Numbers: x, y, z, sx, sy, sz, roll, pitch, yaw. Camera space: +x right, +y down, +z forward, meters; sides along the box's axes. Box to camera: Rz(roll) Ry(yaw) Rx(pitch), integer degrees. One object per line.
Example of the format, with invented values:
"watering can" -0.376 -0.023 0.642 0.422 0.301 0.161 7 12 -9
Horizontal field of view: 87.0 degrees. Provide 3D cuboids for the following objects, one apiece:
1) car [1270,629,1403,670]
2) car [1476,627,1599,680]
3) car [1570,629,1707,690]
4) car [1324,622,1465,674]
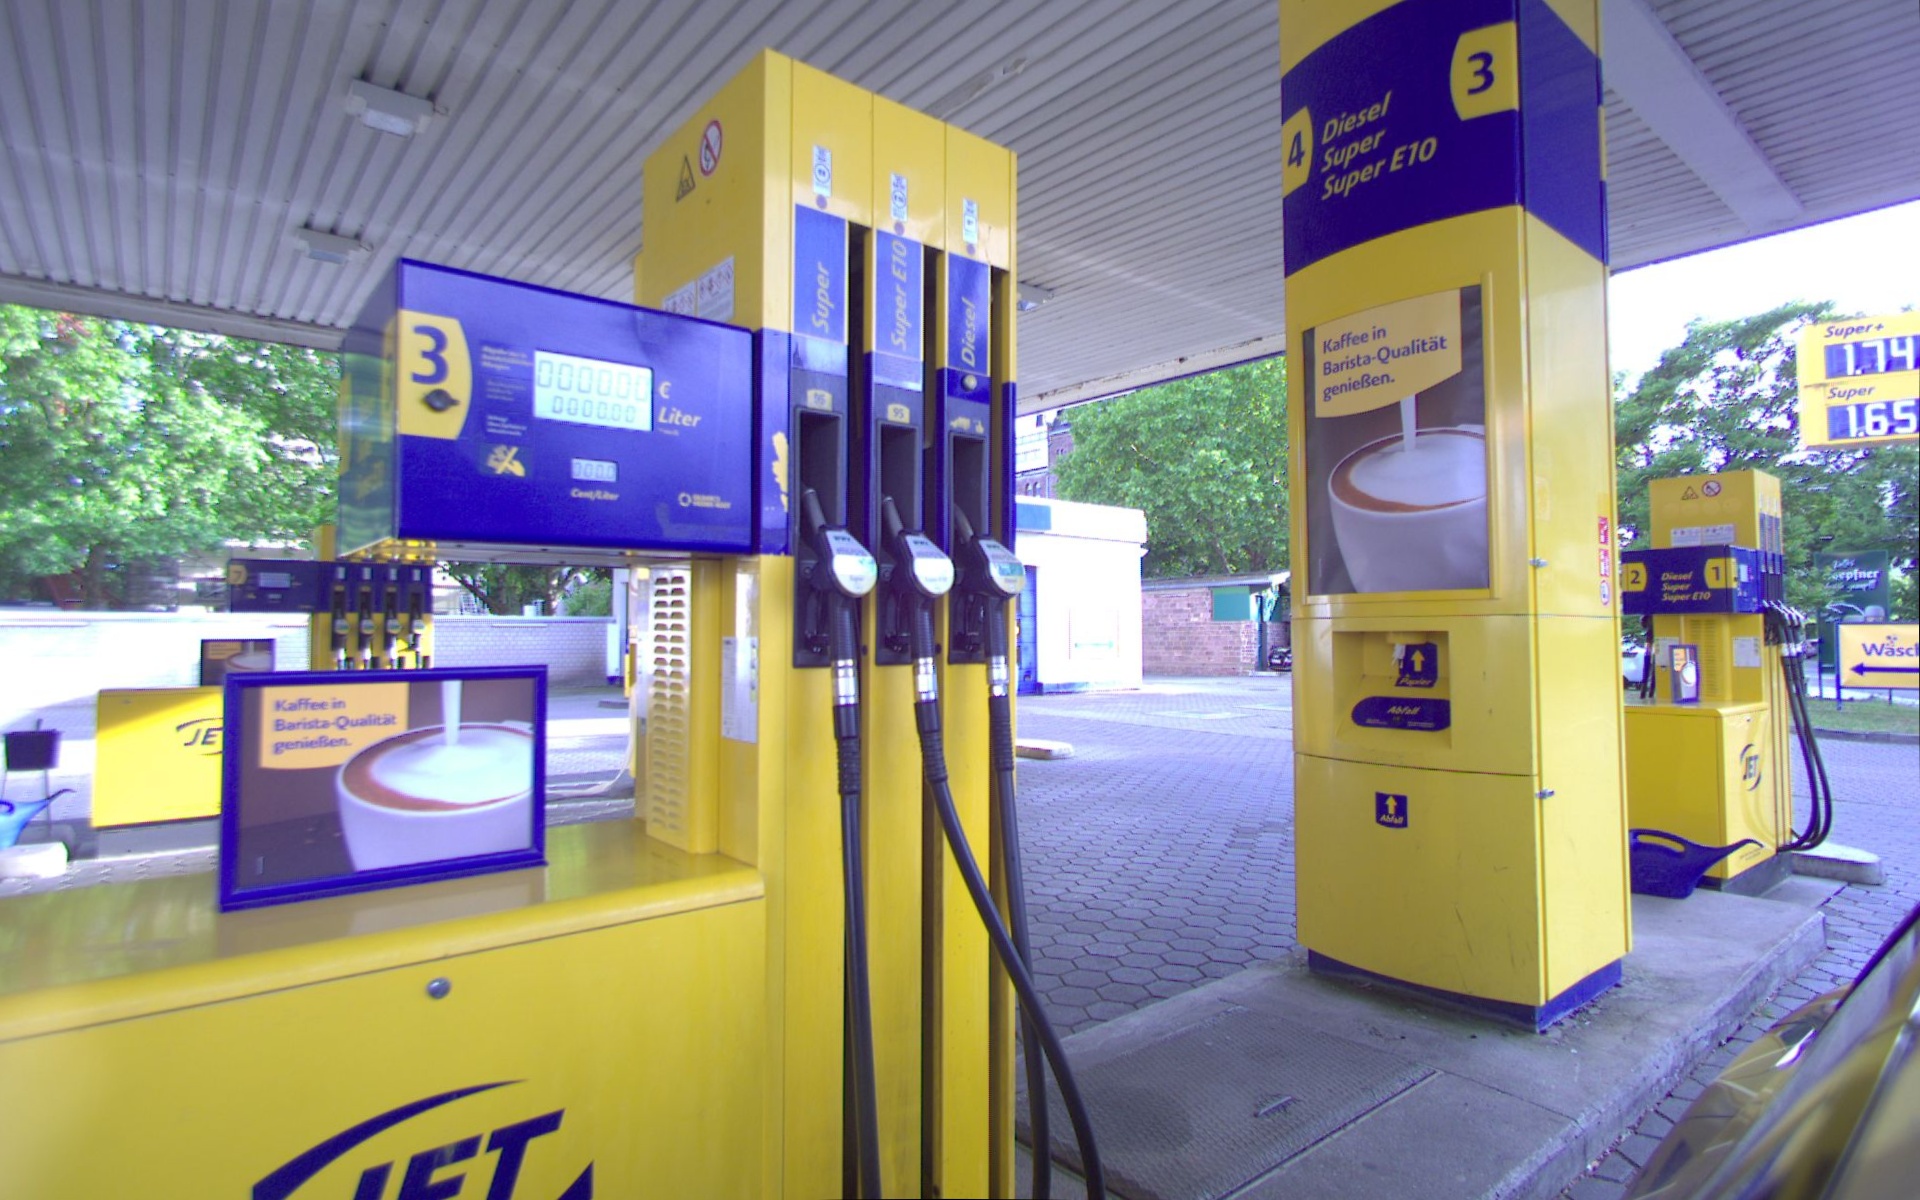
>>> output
"car" 12.837 1.693 34.500 4.134 1.294 1.751 2 -3 -22
"car" 17.564 1.636 30.752 3.923 1.529 1.740 3 -3 -35
"car" 18.229 1.558 27.165 3.923 1.529 1.740 2 -3 -35
"car" 13.797 1.542 32.151 4.134 1.544 1.791 2 -3 -24
